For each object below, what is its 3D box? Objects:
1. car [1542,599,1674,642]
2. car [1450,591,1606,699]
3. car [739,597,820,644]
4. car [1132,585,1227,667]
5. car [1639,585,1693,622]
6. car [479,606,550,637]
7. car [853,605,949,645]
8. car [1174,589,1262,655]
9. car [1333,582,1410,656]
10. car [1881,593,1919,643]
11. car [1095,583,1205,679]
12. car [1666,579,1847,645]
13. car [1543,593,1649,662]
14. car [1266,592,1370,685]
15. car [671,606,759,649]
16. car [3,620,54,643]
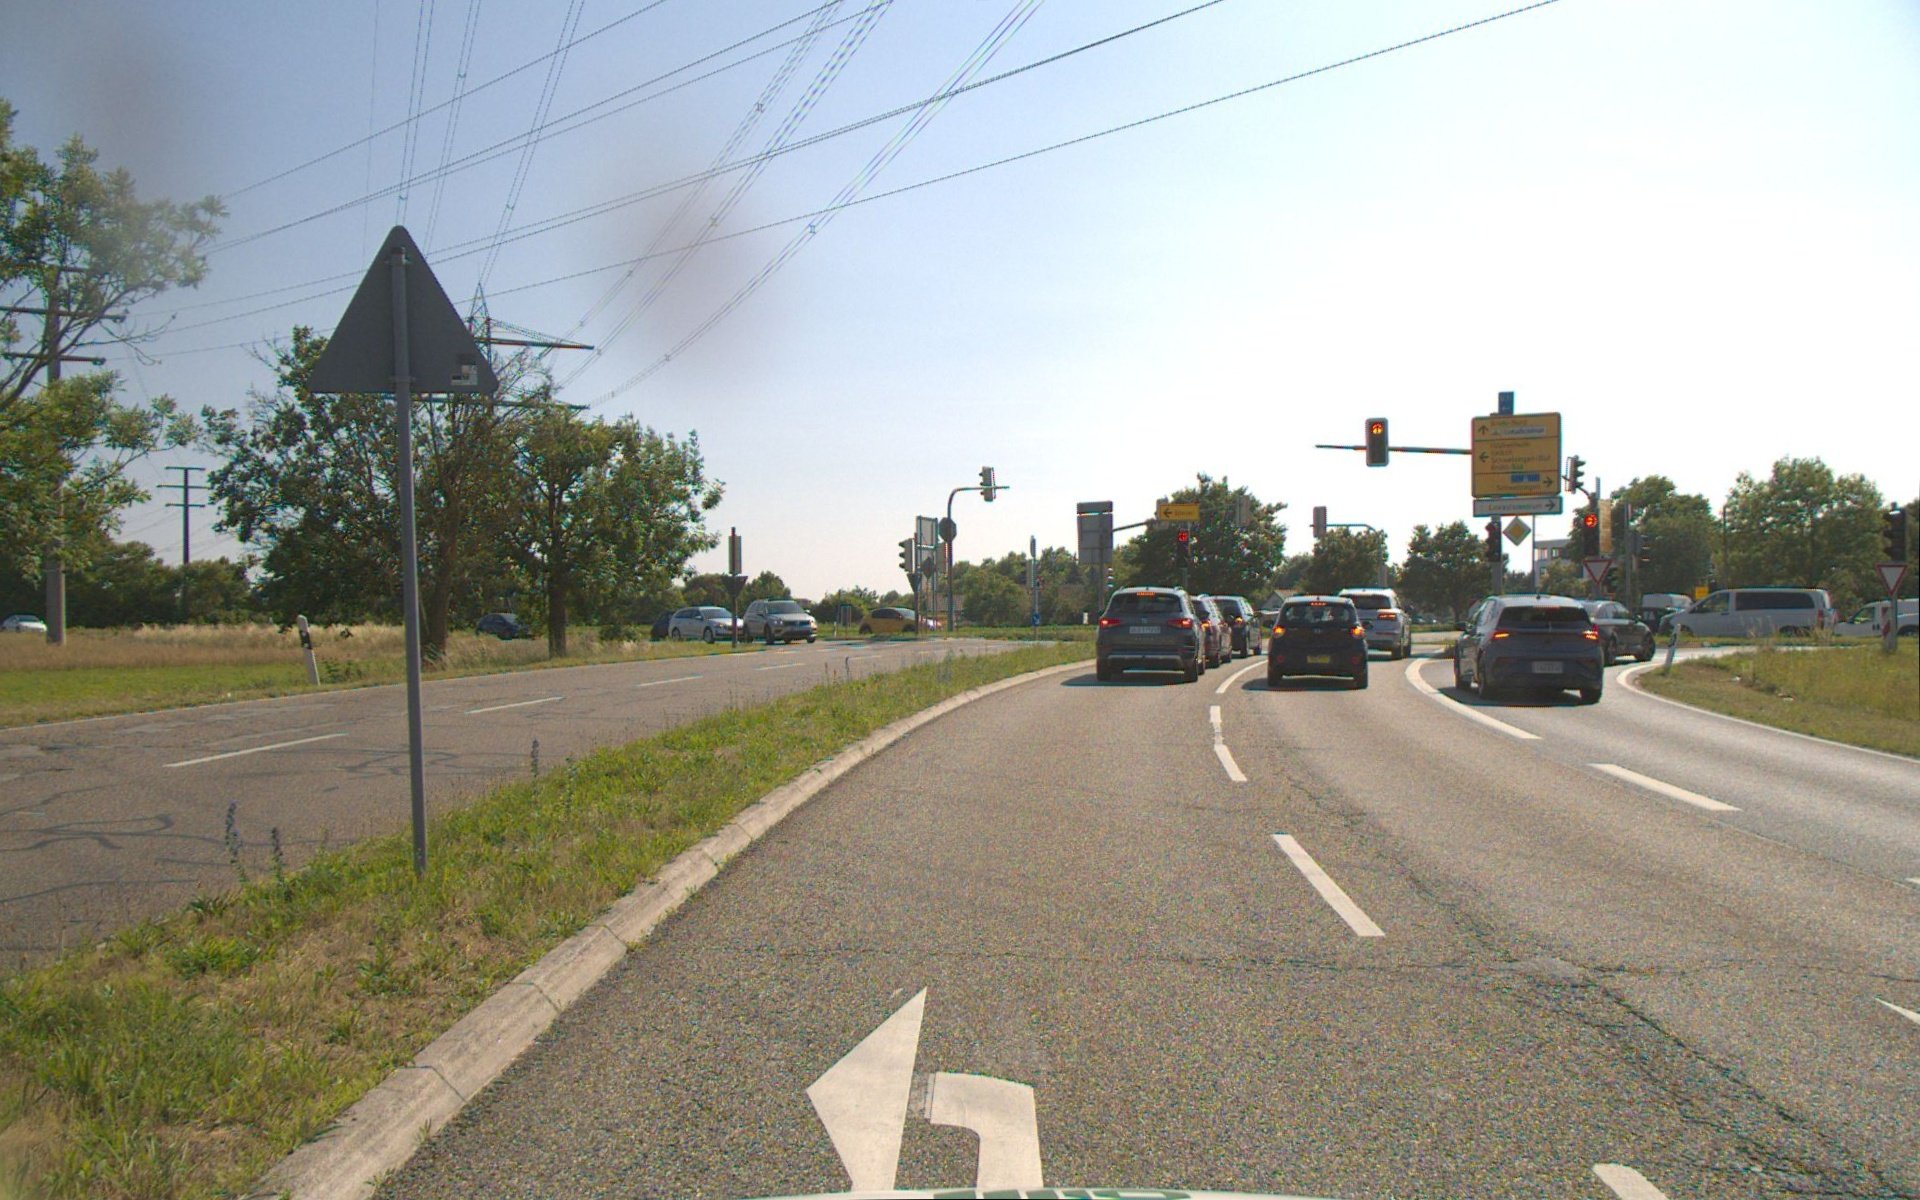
[{"bbox_3d":[22.681,0.690,57.968,4.026,1.441,1.708,0,0,39],"label":"car"},{"bbox_3d":[8.829,0.633,25.993,1.735,1.544,4.103,0,1,11],"label":"car"},{"bbox_3d":[-6.701,0.763,61.228,1.792,1.680,3.967,0,-1,-26],"label":"car"},{"bbox_3d":[4.677,0.535,34.875,1.705,1.596,3.627,1,0,11],"label":"car"},{"bbox_3d":[44.177,0.237,103.427,1.900,2.174,4.617,1,0,39],"label":"car"},{"bbox_3d":[-24.284,1.179,90.183,3.924,1.680,1.811,-1,-1,39],"label":"car"},{"bbox_3d":[-2.565,1.070,71.575,3.924,1.680,1.811,-1,-1,39],"label":"car"},{"bbox_3d":[6.409,0.537,40.822,1.705,1.510,3.626,1,0,16],"label":"car"},{"bbox_3d":[10.100,0.446,40.479,1.598,1.706,3.751,1,0,17],"label":"car"},{"bbox_3d":[31.221,0.562,51.514,4.250,1.545,1.800,-1,-1,37],"label":"car"},{"bbox_3d":[3.444,0.525,29.518,1.705,1.596,3.627,0,0,10],"label":"car"},{"bbox_3d":[25.117,0.353,52.234,4.850,1.951,1.992,1,1,37],"label":"car"},{"bbox_3d":[14.356,0.581,37.234,1.611,1.410,3.992,-1,0,30],"label":"car"},{"bbox_3d":[6.087,0.620,28.375,1.598,1.473,3.298,1,0,10],"label":"car"},{"bbox_3d":[-9.954,1.102,67.002,1.802,1.680,3.944,0,-1,-38],"label":"car"},{"bbox_3d":[-69.975,2.344,124.234,4.671,1.680,1.811,0,-1,39],"label":"car"}]
